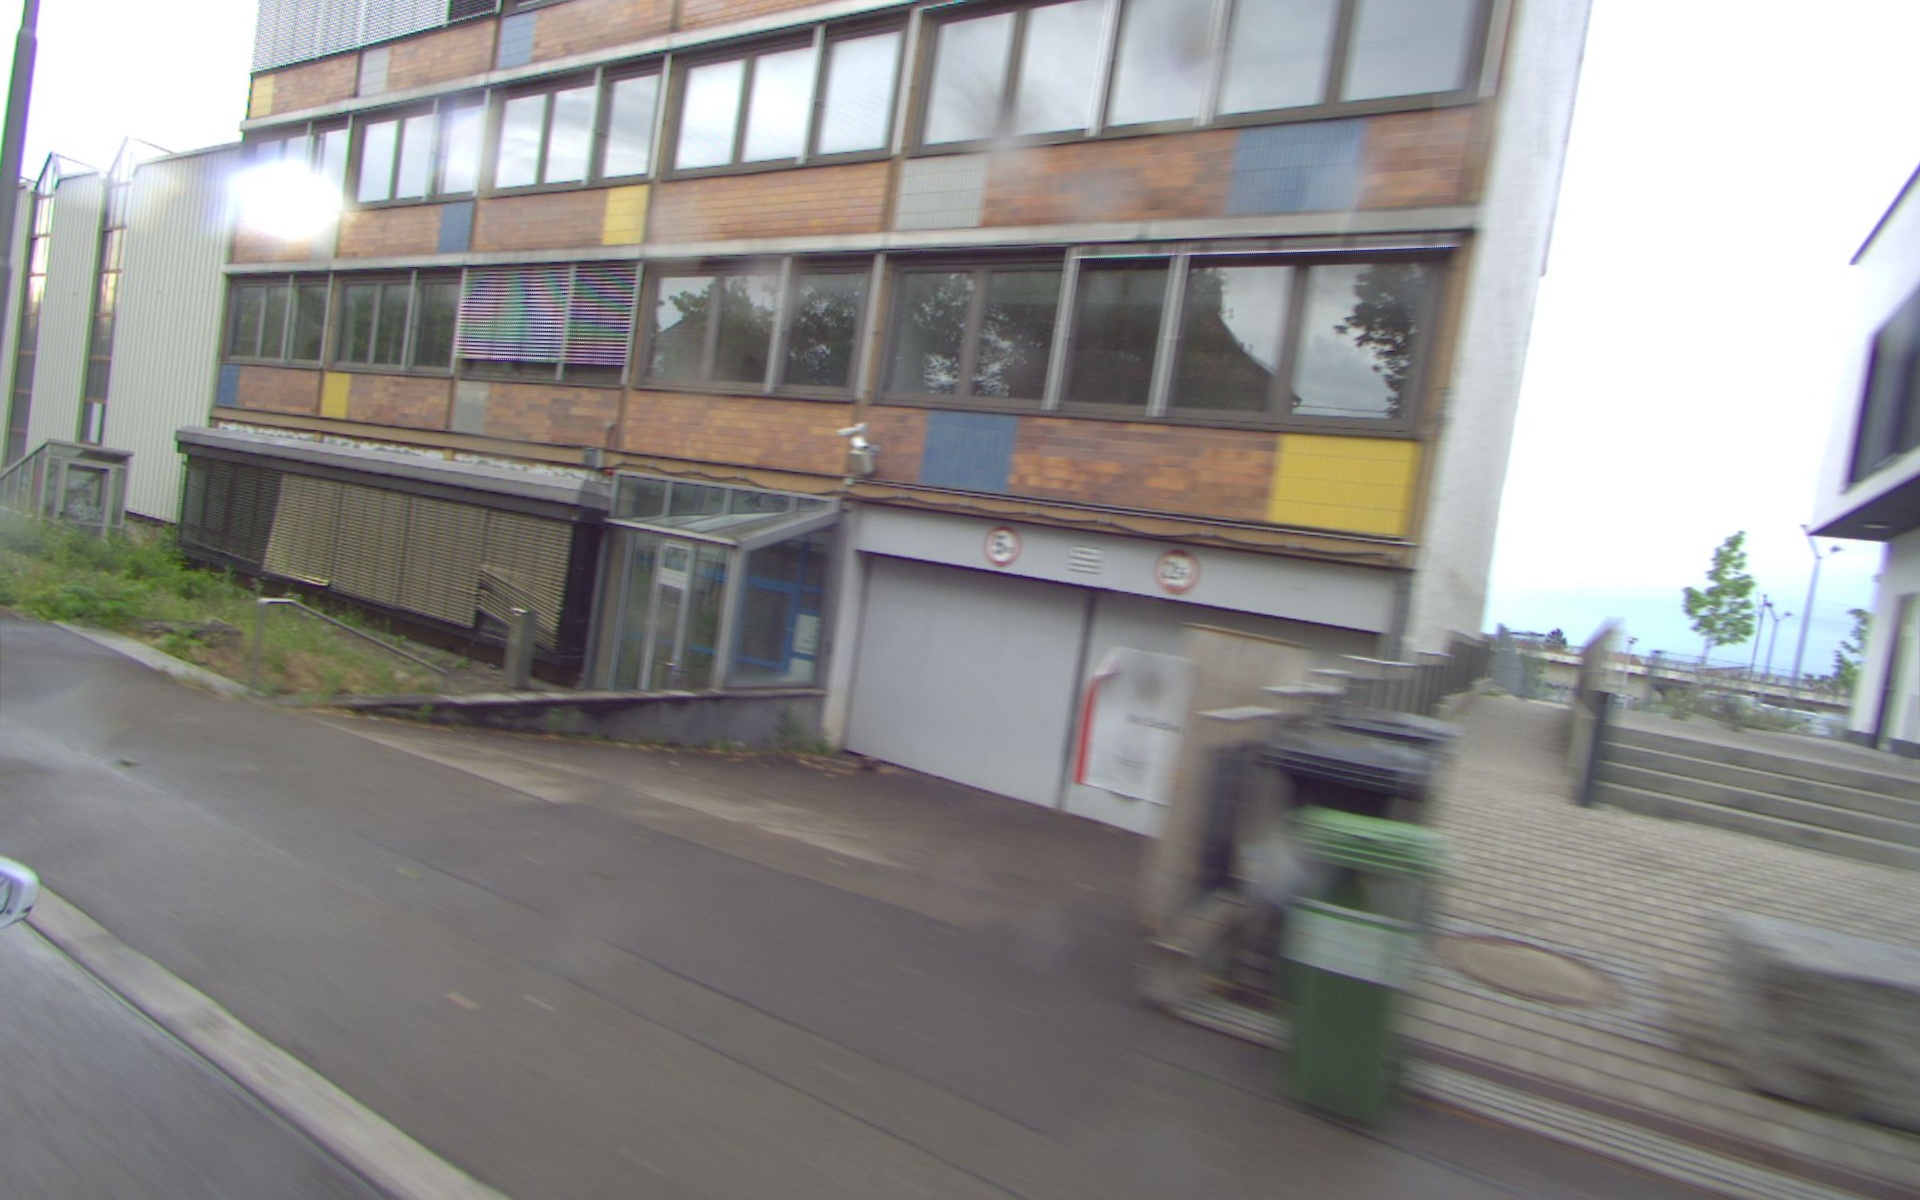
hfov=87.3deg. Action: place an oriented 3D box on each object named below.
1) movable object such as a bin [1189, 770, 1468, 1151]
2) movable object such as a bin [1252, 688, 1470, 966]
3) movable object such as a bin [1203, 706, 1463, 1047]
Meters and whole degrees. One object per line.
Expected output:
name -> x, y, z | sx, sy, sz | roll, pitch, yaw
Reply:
movable object such as a bin -> 1.266, 1.154, 3.436 | 0.674, 0.949, 0.619 | 8, 4, 33
movable object such as a bin -> 1.984, 1.055, 4.964 | 0.766, 1.097, 0.694 | 8, 4, 33
movable object such as a bin -> 1.558, 1.070, 4.183 | 0.766, 1.097, 0.694 | 8, 4, 33
